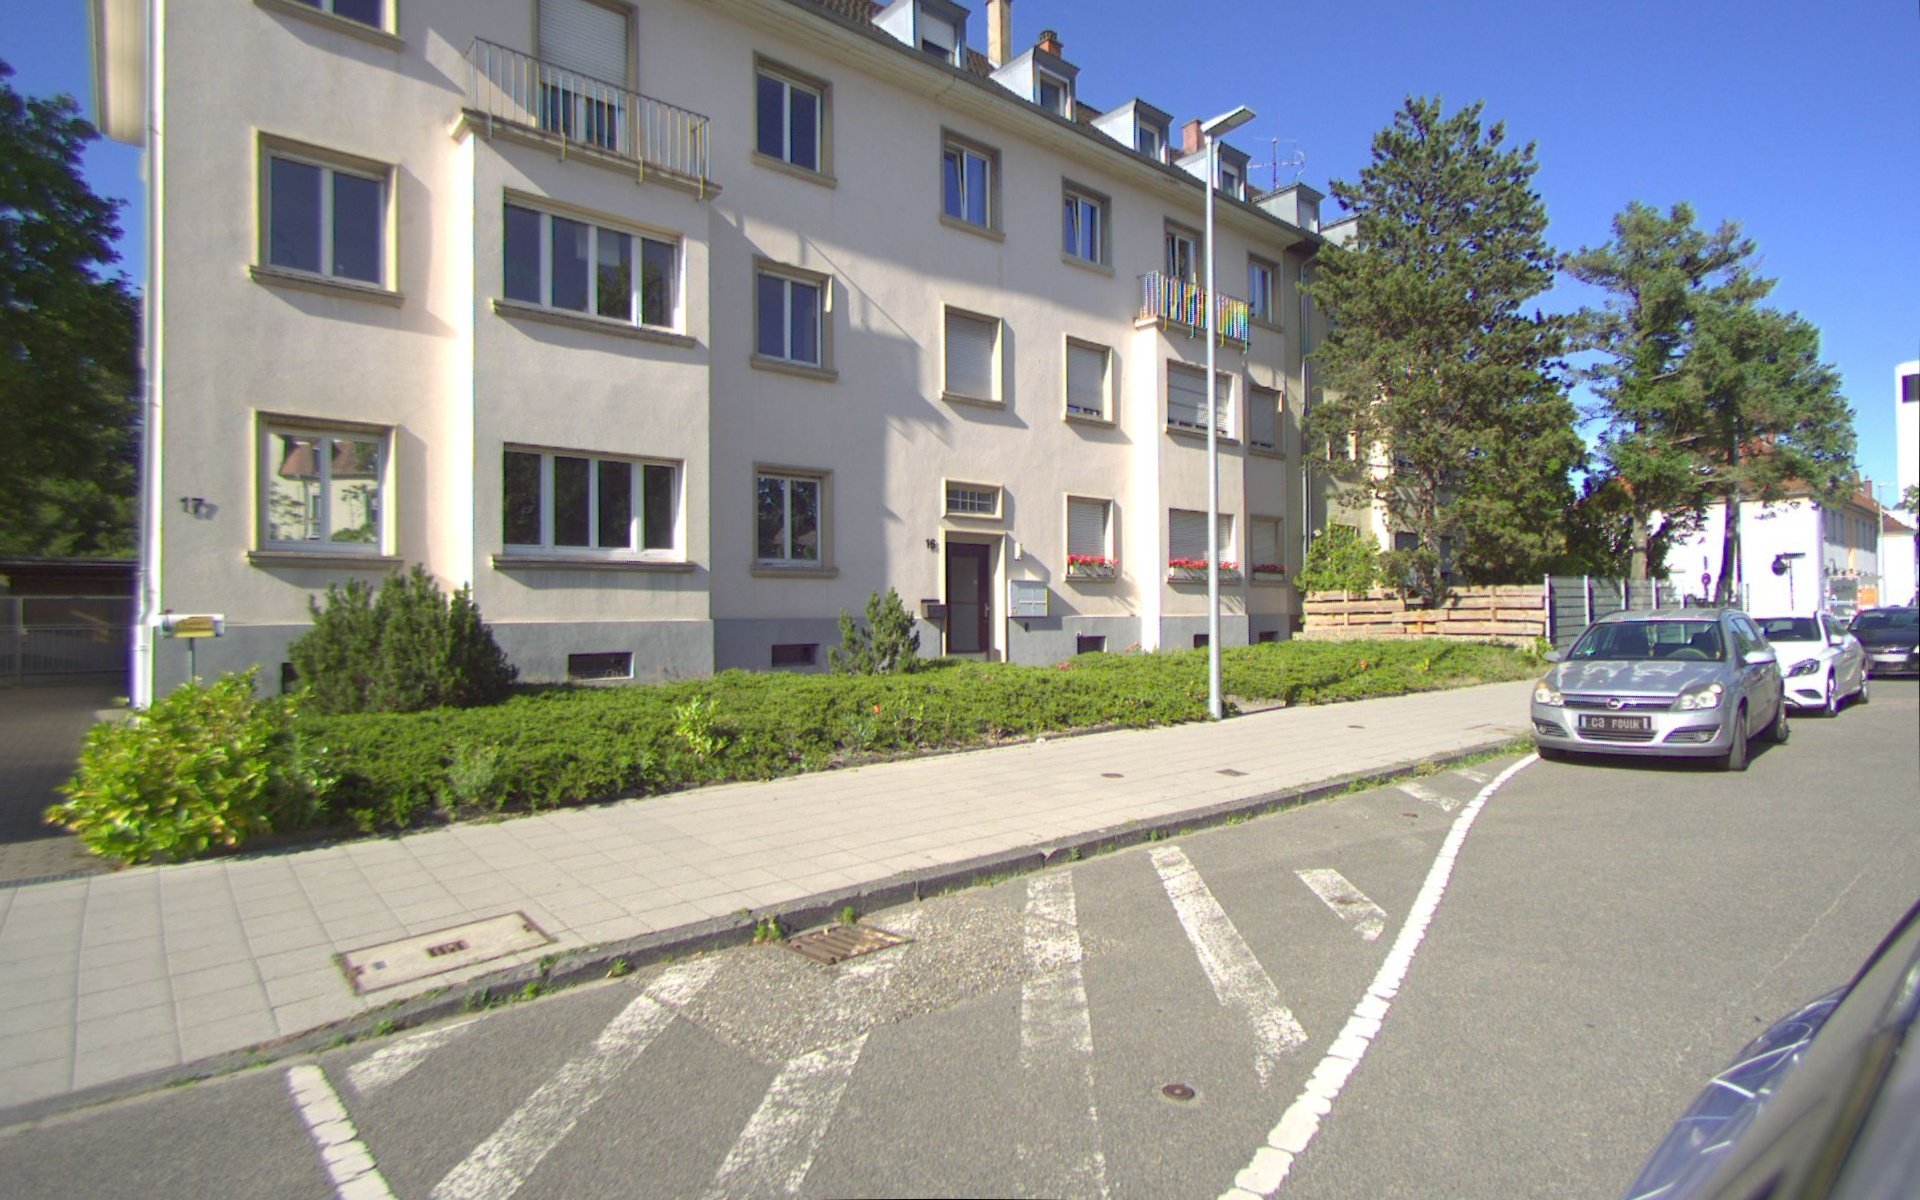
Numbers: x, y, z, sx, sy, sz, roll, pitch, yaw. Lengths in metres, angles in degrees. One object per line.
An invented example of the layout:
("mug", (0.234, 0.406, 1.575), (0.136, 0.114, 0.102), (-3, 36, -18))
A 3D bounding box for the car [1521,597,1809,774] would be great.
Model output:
("car", (7.533, 0.746, 10.633), (4.339, 1.484, 1.660), (0, -3, -45))

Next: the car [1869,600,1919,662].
("car", (23.998, 0.708, 25.030), (4.061, 1.441, 1.674), (0, -3, -41))

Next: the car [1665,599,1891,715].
("car", (12.090, 0.760, 14.872), (4.213, 1.439, 1.797), (0, -2, -41))

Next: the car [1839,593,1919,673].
("car", (19.920, 0.640, 21.096), (3.924, 1.530, 1.797), (0, -3, -41))
